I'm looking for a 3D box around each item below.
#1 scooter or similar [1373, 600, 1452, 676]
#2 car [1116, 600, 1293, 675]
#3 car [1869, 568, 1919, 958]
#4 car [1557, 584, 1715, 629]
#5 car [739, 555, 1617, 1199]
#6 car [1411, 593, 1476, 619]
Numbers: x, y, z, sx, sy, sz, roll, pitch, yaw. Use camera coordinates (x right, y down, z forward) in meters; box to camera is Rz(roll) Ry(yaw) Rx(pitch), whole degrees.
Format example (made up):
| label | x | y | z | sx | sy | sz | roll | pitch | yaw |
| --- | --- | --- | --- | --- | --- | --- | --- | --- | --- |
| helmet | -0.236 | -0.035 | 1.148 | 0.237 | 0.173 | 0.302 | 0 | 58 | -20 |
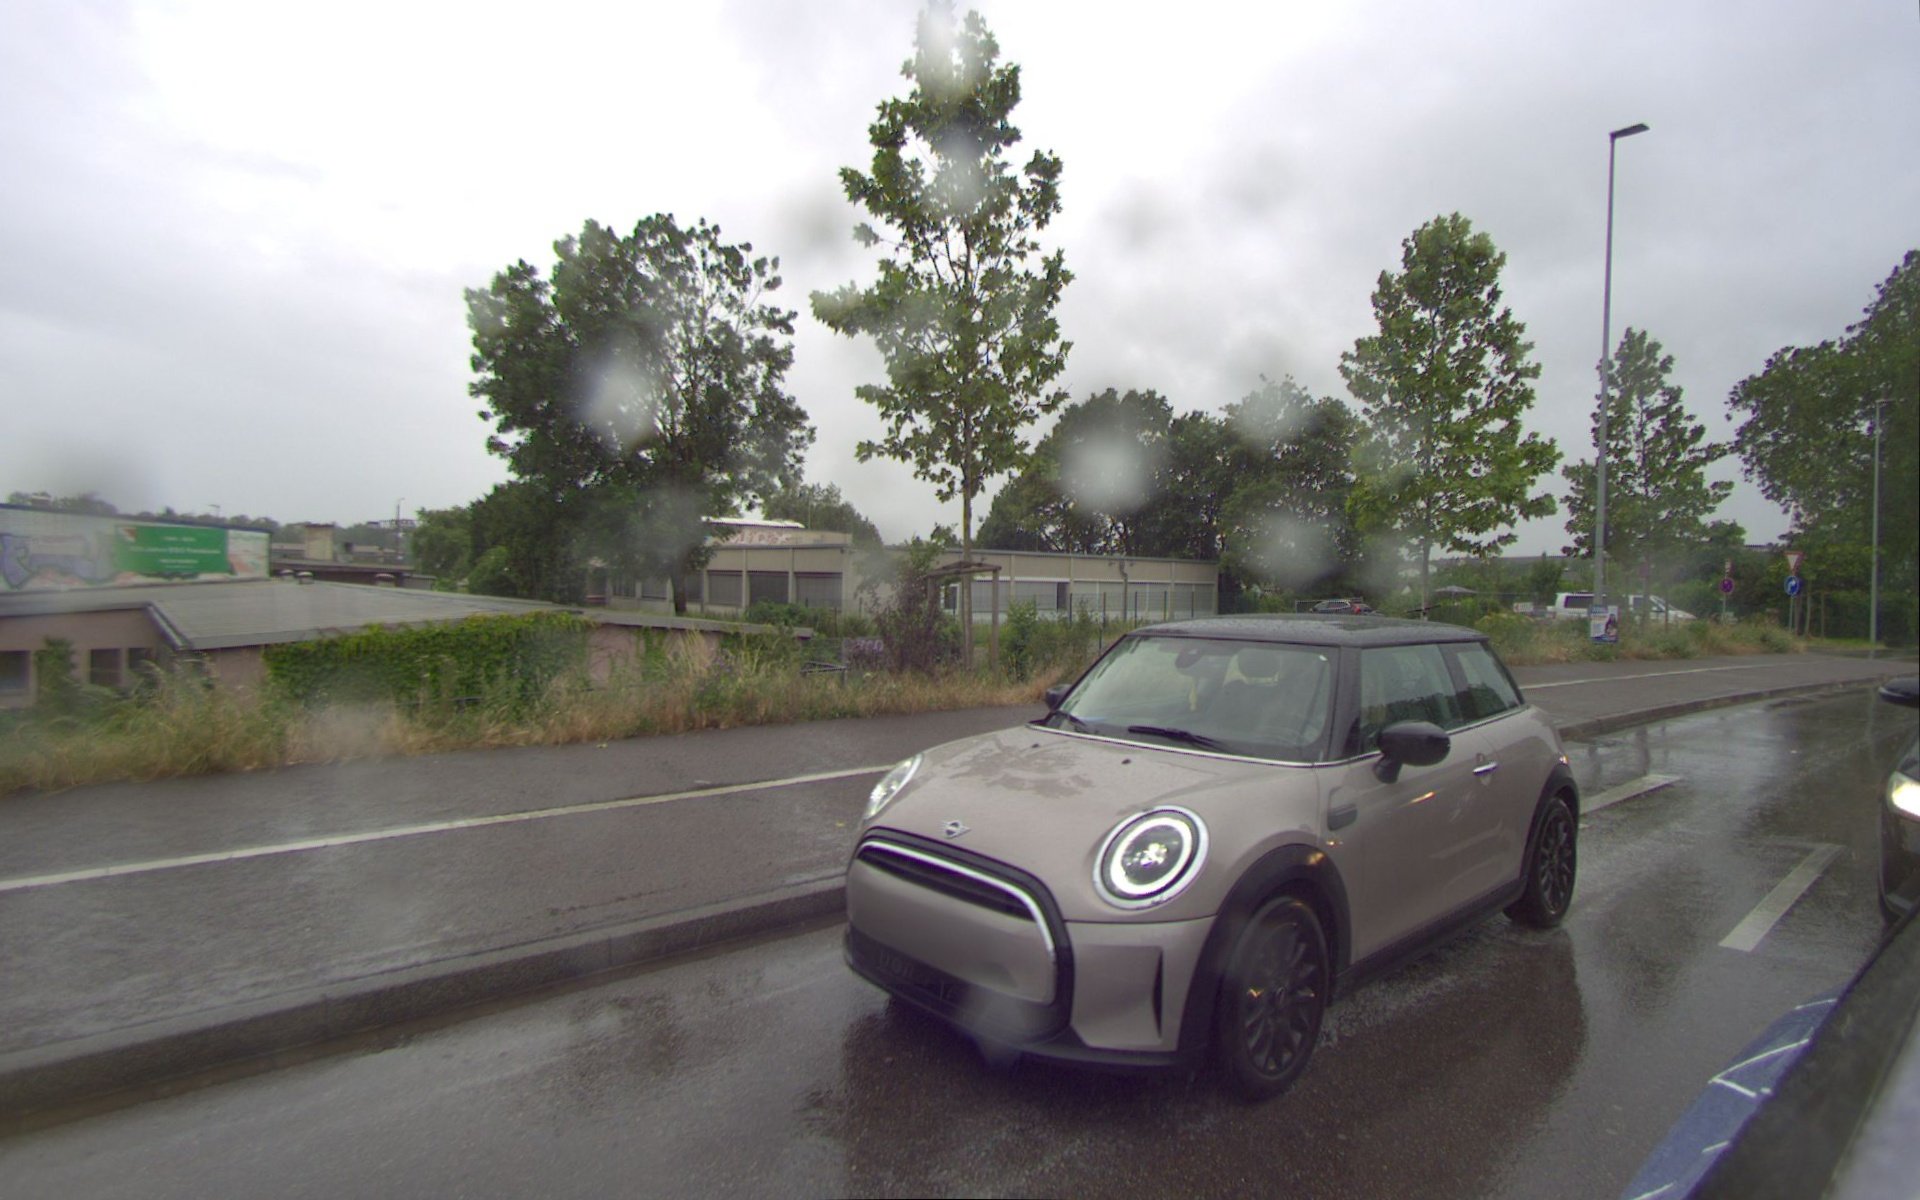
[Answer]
| label | x | y | z | sx | sy | sz | roll | pitch | yaw |
| --- | --- | --- | --- | --- | --- | --- | --- | --- | --- |
| scooter or similar | 7.592 | 0.608 | 16.935 | 1.877 | 1.214 | 0.367 | 0 | 0 | -38 |
| car | 4.610 | 0.664 | 19.419 | 1.319 | 1.304 | 3.246 | 0 | 0 | -35 |
| car | 5.991 | 0.701 | 4.866 | 4.093 | 1.601 | 1.758 | 1 | 0 | -38 |
| car | 28.199 | 0.252 | 42.362 | 1.972 | 1.747 | 5.168 | 0 | 0 | -42 |
| car | 1.190 | 0.660 | 4.283 | 3.811 | 1.527 | 1.705 | 1 | 0 | -41 |
| car | 30.856 | 0.352 | 64.611 | 1.319 | 1.604 | 3.555 | 0 | 0 | -35 |
